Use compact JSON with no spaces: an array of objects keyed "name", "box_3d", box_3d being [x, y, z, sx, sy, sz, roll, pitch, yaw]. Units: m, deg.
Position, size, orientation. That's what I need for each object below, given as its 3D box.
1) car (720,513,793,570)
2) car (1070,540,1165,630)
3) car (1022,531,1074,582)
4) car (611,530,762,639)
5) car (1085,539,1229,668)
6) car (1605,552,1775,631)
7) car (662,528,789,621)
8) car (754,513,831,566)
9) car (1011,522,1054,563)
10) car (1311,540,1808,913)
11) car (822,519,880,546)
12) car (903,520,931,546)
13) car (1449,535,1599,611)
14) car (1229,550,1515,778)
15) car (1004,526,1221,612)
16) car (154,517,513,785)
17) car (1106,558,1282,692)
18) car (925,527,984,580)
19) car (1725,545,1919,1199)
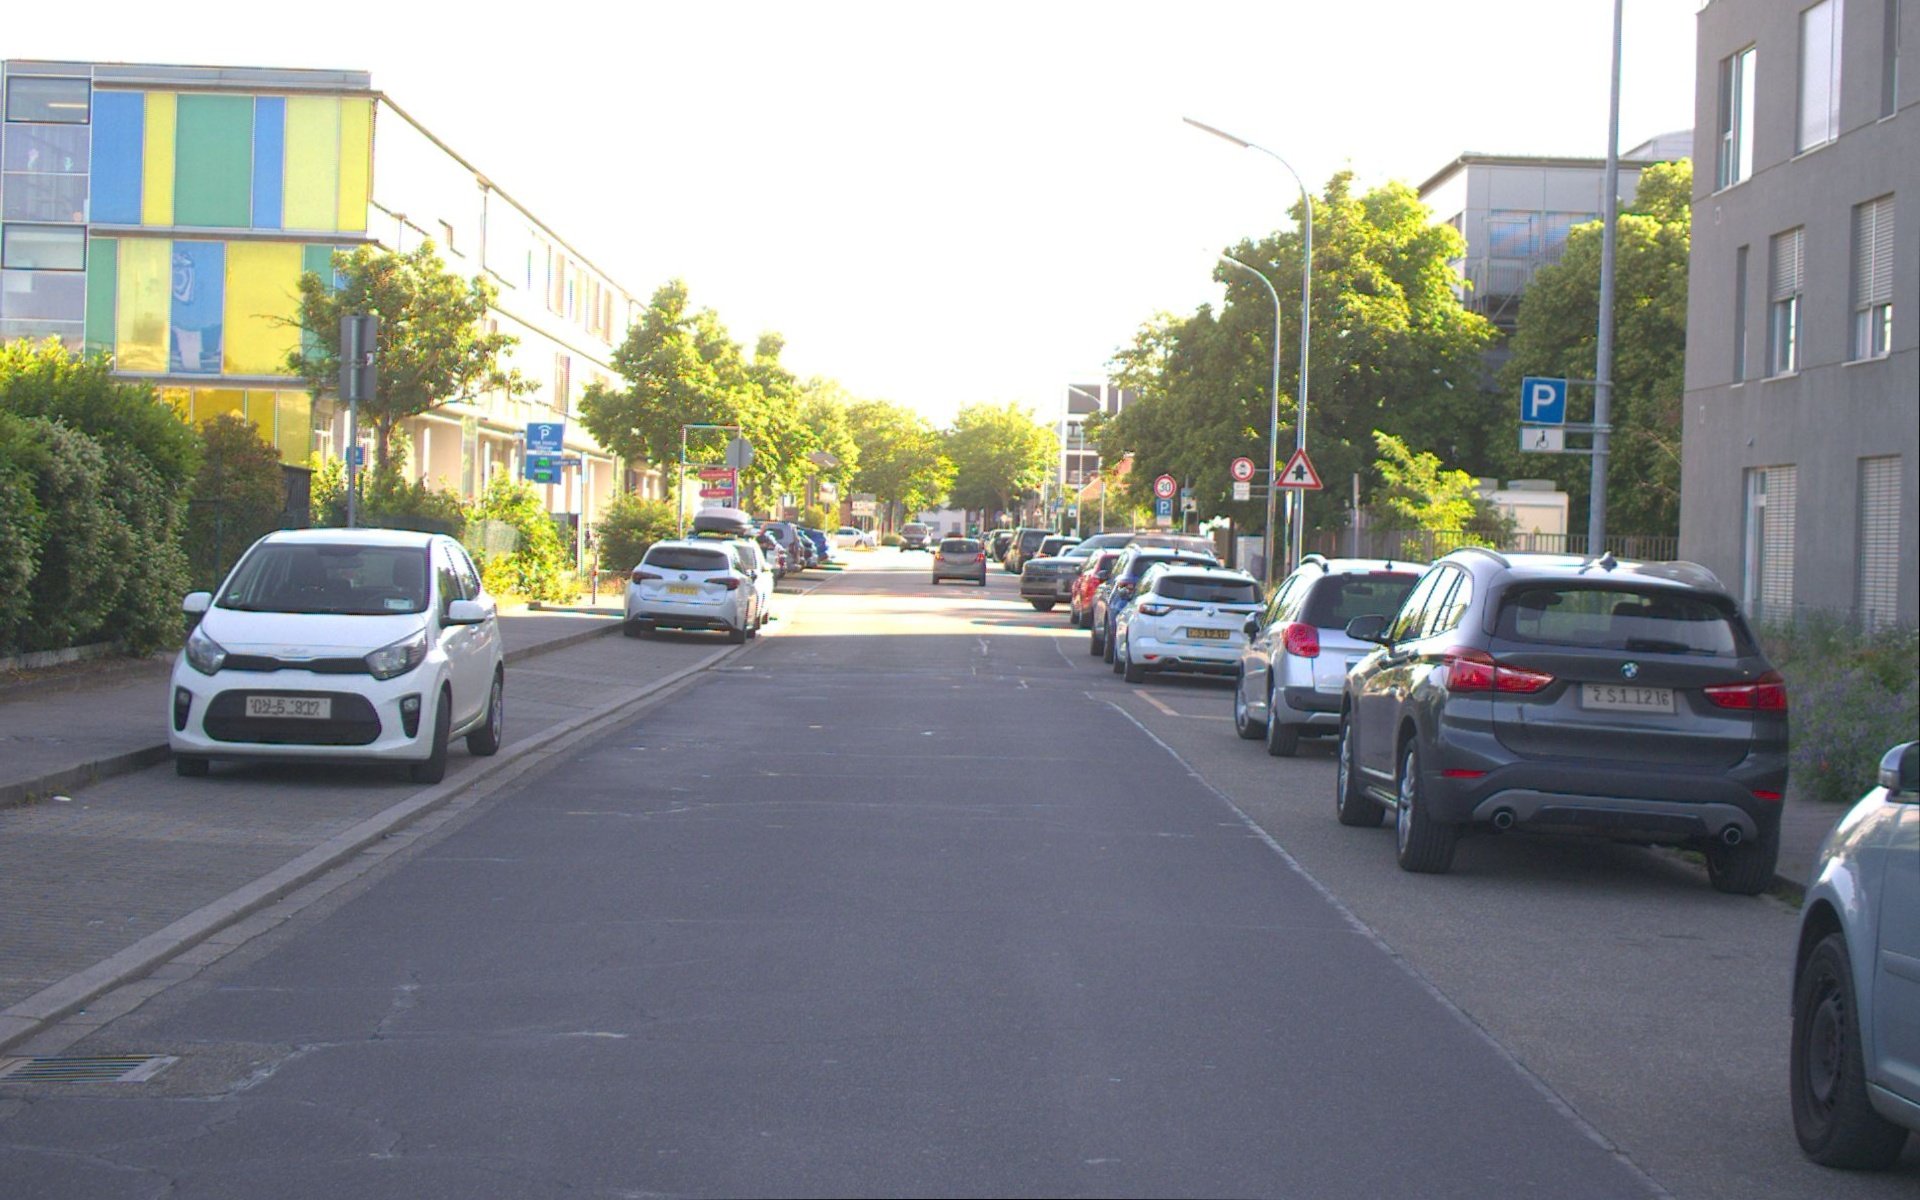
[{"name":"car","box_3d":[-6.008,-1.740,102.027,1.854,1.558,4.134,4,1,-1]},{"name":"car","box_3d":[2.926,-0.299,64.382,1.445,1.544,3.614,4,1,-1]},{"name":"car","box_3d":[2.856,-1.438,112.594,1.445,1.544,3.614,4,1,-1]},{"name":"car","box_3d":[-4.000,-0.258,50.793,1.854,1.423,4.134,4,1,-1]},{"name":"car","box_3d":[2.716,0.017,47.973,1.632,1.625,3.614,4,1,-1]},{"name":"car","box_3d":[15.402,-0.183,72.623,3.216,1.455,1.450,4,1,3]},{"name":"car","box_3d":[-3.995,-0.465,59.132,1.854,1.423,4.134,4,1,-1]},{"name":"car","box_3d":[-5.349,-1.926,110.310,1.855,1.558,4.133,4,1,4]},{"name":"car","box_3d":[2.899,-2.318,137.992,1.445,1.544,3.614,4,1,-1]},{"name":"car","box_3d":[2.993,0.550,18.026,1.742,1.619,4.179,4,1,-1]},{"name":"car","box_3d":[-7.153,-4.439,225.450,3.601,1.544,1.450,4,1,-5]},{"name":"car","box_3d":[-2.808,-4.351,223.170,1.664,1.544,3.902,4,1,-1]},{"name":"car","box_3d":[13.224,-0.640,80.709,3.216,1.544,1.450,4,1,3]},{"name":"car","box_3d":[3.160,0.439,27.021,1.657,1.546,3.851,4,1,-1]},{"name":"car","box_3d":[3.270,-0.661,73.602,4.179,1.541,1.850,3,1,-26]},{"name":"car","box_3d":[-3.829,0.259,21.544,1.559,1.489,3.759,2,1,-1]},{"name":"car","box_3d":[2.806,0.268,41.966,1.742,1.423,4.134,4,1,-1]},{"name":"car","box_3d":[-0.192,-1.484,109.172,1.689,1.544,3.614,4,1,-1]},{"name":"car","box_3d":[3.105,0.747,7.662,1.676,1.603,4.179,4,1,-1]}]
